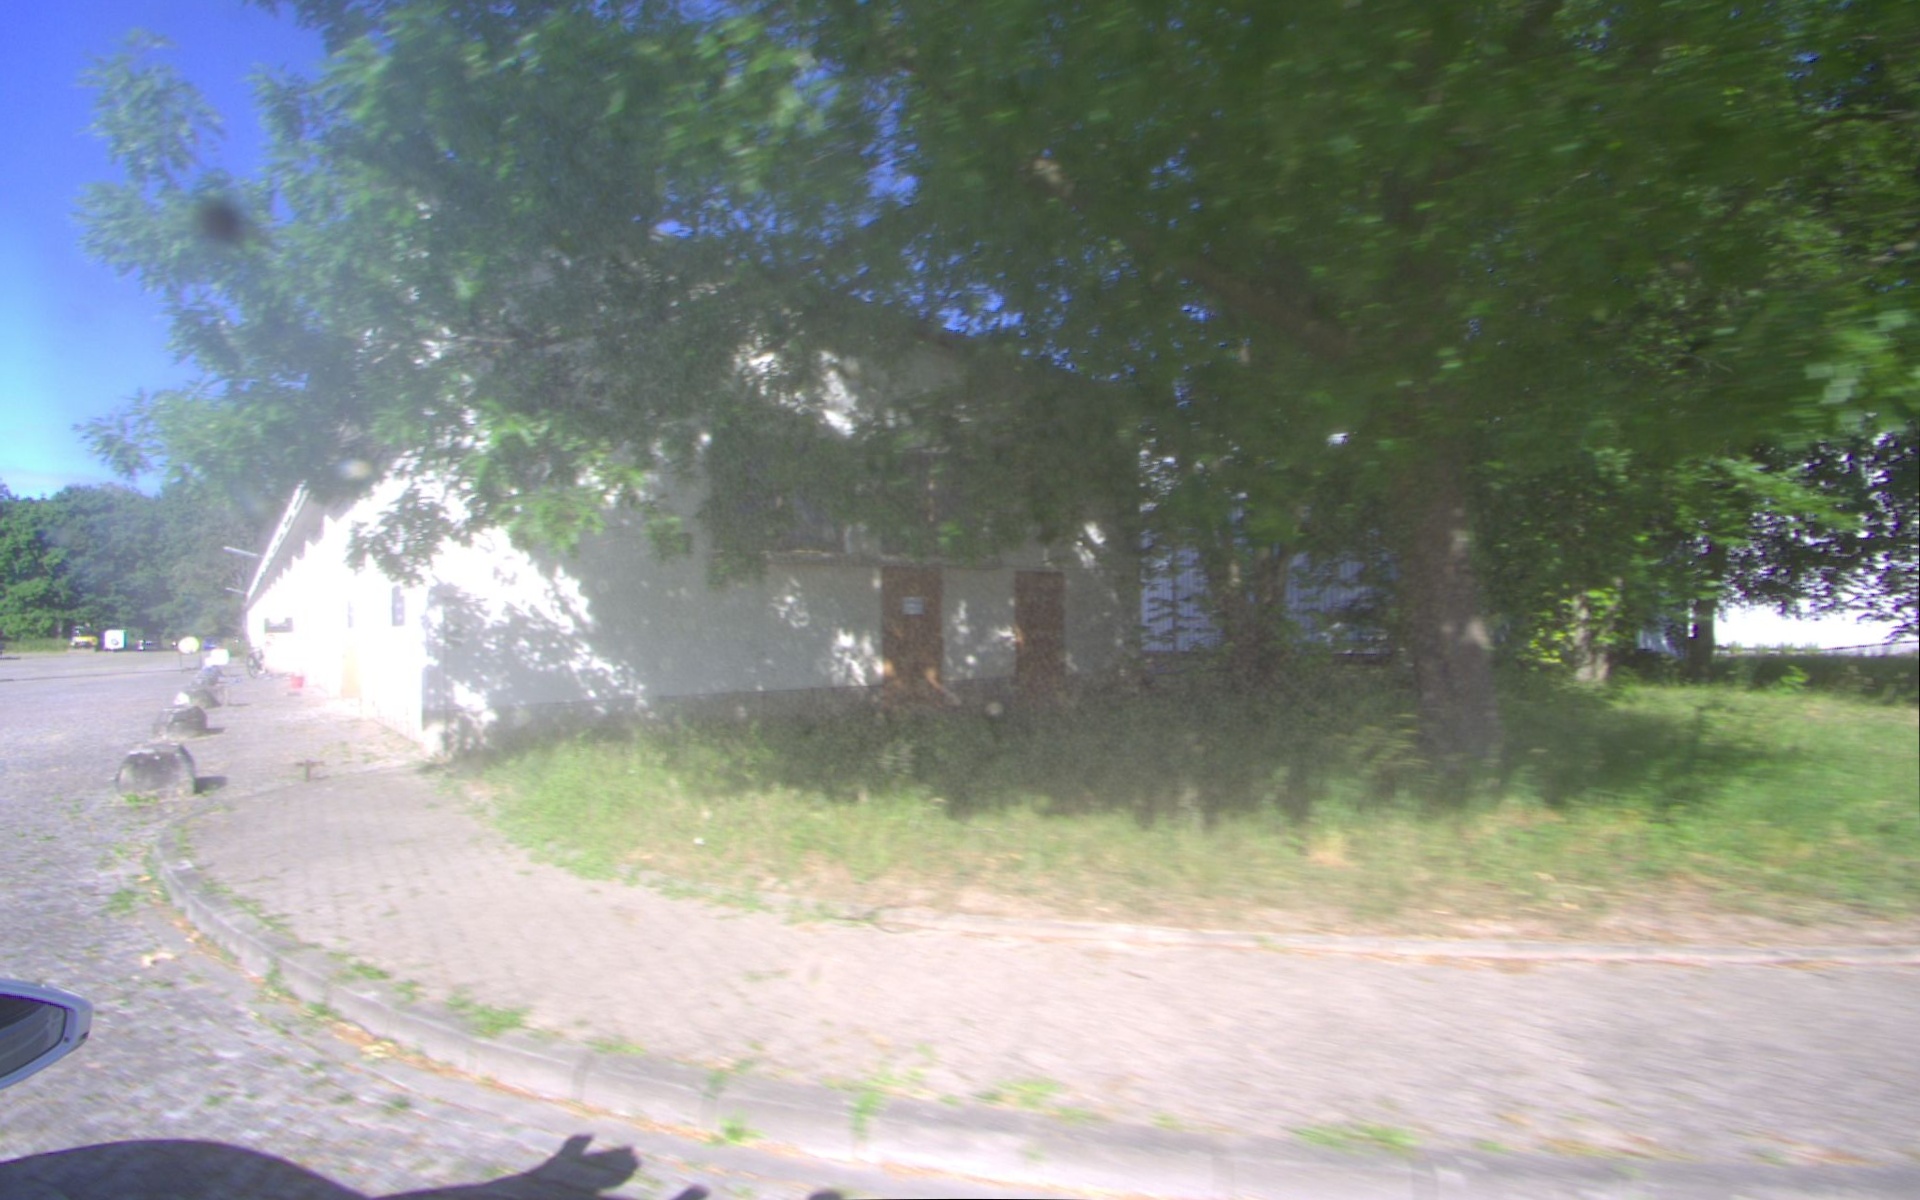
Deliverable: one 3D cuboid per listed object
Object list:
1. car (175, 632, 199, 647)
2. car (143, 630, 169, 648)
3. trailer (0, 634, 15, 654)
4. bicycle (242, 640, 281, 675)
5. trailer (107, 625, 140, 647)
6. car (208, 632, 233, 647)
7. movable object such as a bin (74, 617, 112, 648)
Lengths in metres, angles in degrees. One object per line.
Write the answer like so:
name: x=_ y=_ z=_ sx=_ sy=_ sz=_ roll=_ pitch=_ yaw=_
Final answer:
car: x=-79.245 y=4.049 z=102.715 sx=1.847 sy=1.489 sz=4.264 roll=2 pitch=-1 yaw=-36
car: x=-81.007 y=3.923 z=100.943 sx=1.847 sy=1.610 sz=4.264 roll=2 pitch=-1 yaw=-36
trailer: x=-78.547 y=3.565 z=80.831 sx=2.683 sy=1.484 sz=6.199 roll=2 pitch=-2 yaw=-38
bicycle: x=-22.028 y=1.796 z=31.605 sx=0.656 sy=1.081 sz=1.818 roll=0 pitch=-2 yaw=-24
trailer: x=-84.545 y=3.619 z=101.251 sx=2.174 sy=2.122 sz=5.708 roll=2 pitch=-1 yaw=-36
car: x=-77.011 y=4.119 z=104.308 sx=1.726 sy=1.455 sz=4.159 roll=2 pitch=-1 yaw=-31
movable object such as a bin: x=-86.783 y=3.214 z=100.318 sx=2.285 sy=2.934 sz=5.710 roll=2 pitch=-1 yaw=-35
